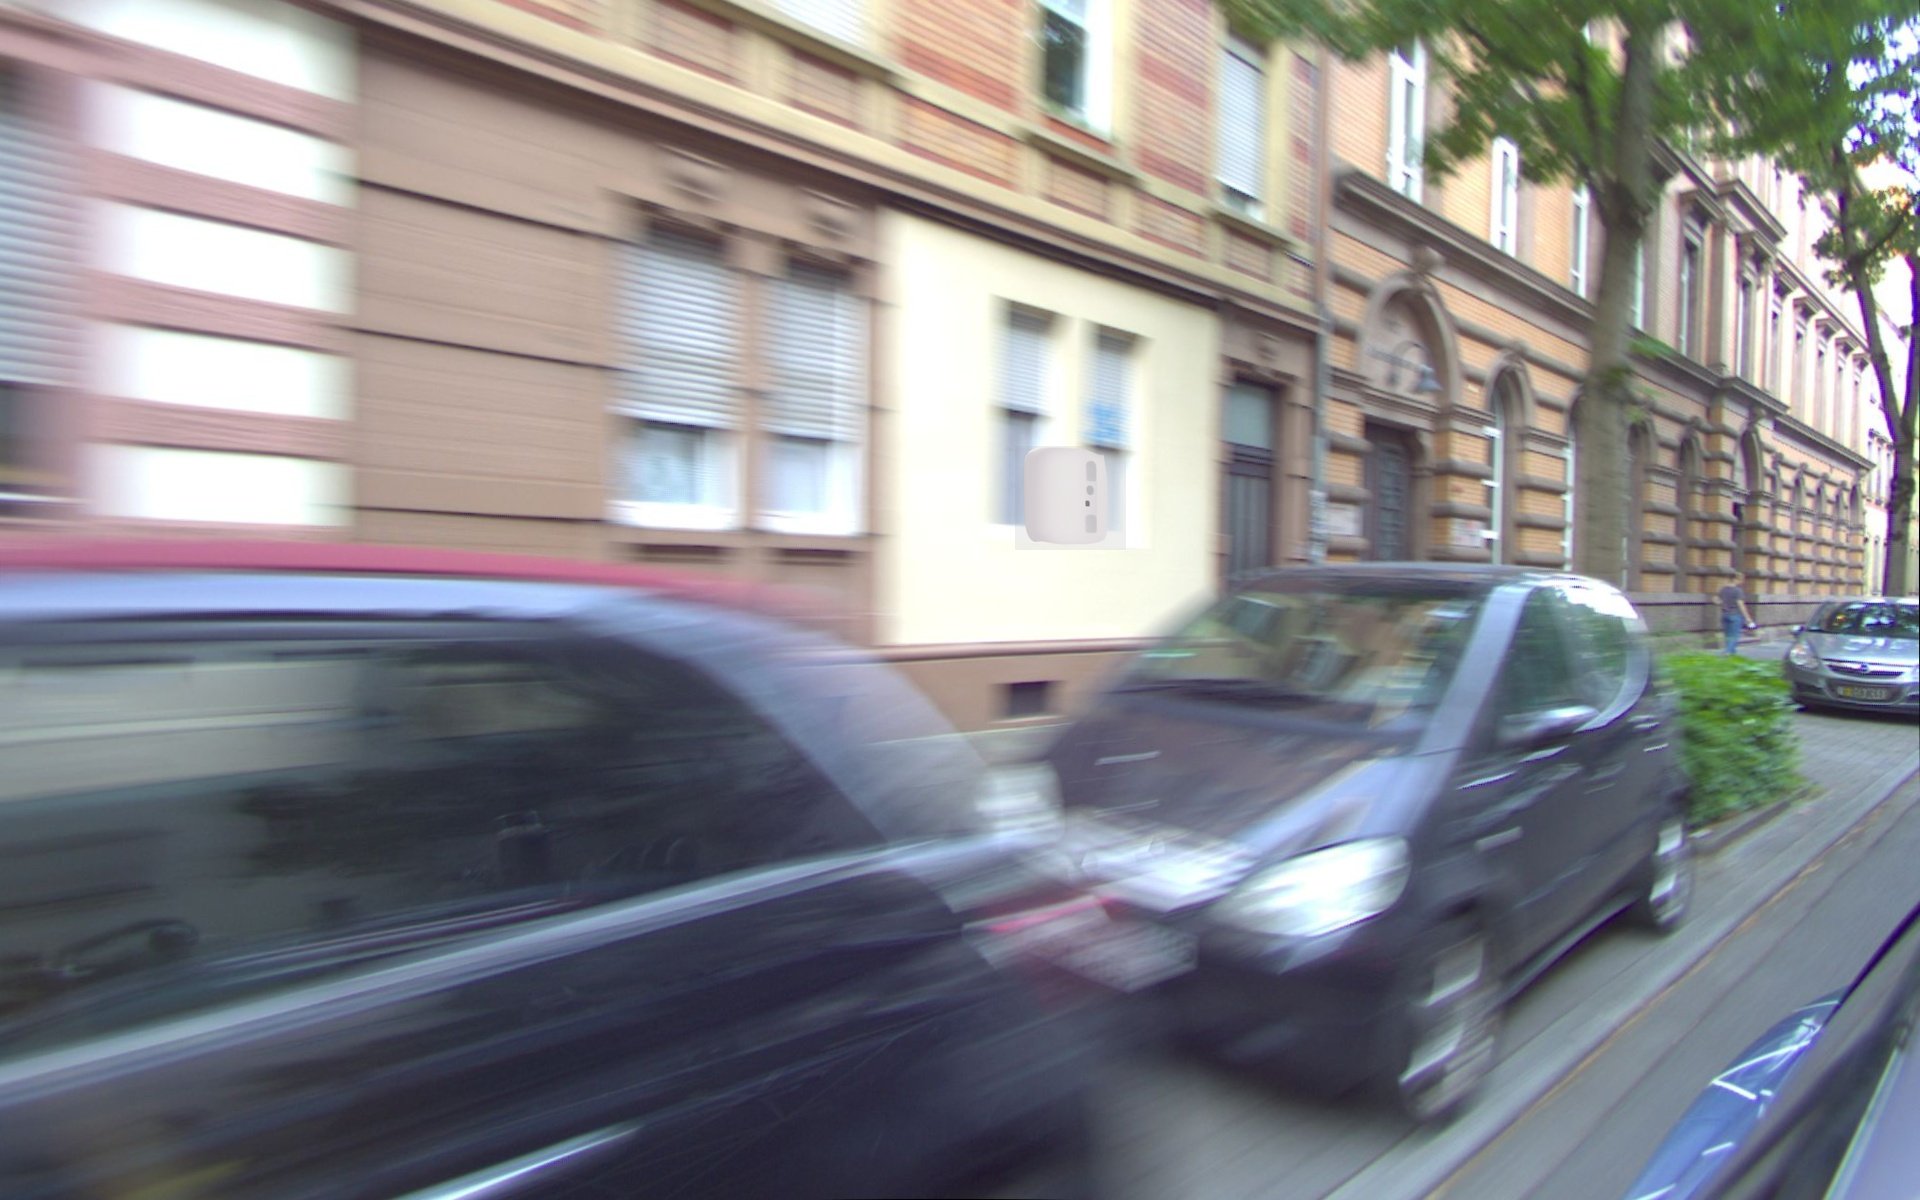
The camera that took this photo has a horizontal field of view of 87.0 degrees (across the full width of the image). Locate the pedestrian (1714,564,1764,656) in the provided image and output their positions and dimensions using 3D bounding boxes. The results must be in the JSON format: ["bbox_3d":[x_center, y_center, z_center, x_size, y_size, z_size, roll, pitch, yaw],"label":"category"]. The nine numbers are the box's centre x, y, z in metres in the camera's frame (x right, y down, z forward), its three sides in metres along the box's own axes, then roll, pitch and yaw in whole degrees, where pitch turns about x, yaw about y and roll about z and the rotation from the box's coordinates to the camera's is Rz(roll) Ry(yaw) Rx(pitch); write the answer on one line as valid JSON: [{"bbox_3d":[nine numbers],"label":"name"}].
[{"bbox_3d":[14.522,0.177,18.866,0.522,1.669,0.628,0,0,-40],"label":"pedestrian"}]

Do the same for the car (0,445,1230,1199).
[{"bbox_3d":[-1.411,0.620,1.271,3.544,1.515,1.555,0,1,-38],"label":"car"}]

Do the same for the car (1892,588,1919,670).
[{"bbox_3d":[19.379,0.545,19.396,4.141,1.467,1.725,-1,3,-41],"label":"car"}]

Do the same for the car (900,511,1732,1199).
[{"bbox_3d":[1.711,0.549,4.121,3.702,1.578,1.614,0,2,-42],"label":"car"}]

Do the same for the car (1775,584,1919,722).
[{"bbox_3d":[12.081,0.604,13.155,3.932,1.500,1.700,0,4,-43],"label":"car"}]
